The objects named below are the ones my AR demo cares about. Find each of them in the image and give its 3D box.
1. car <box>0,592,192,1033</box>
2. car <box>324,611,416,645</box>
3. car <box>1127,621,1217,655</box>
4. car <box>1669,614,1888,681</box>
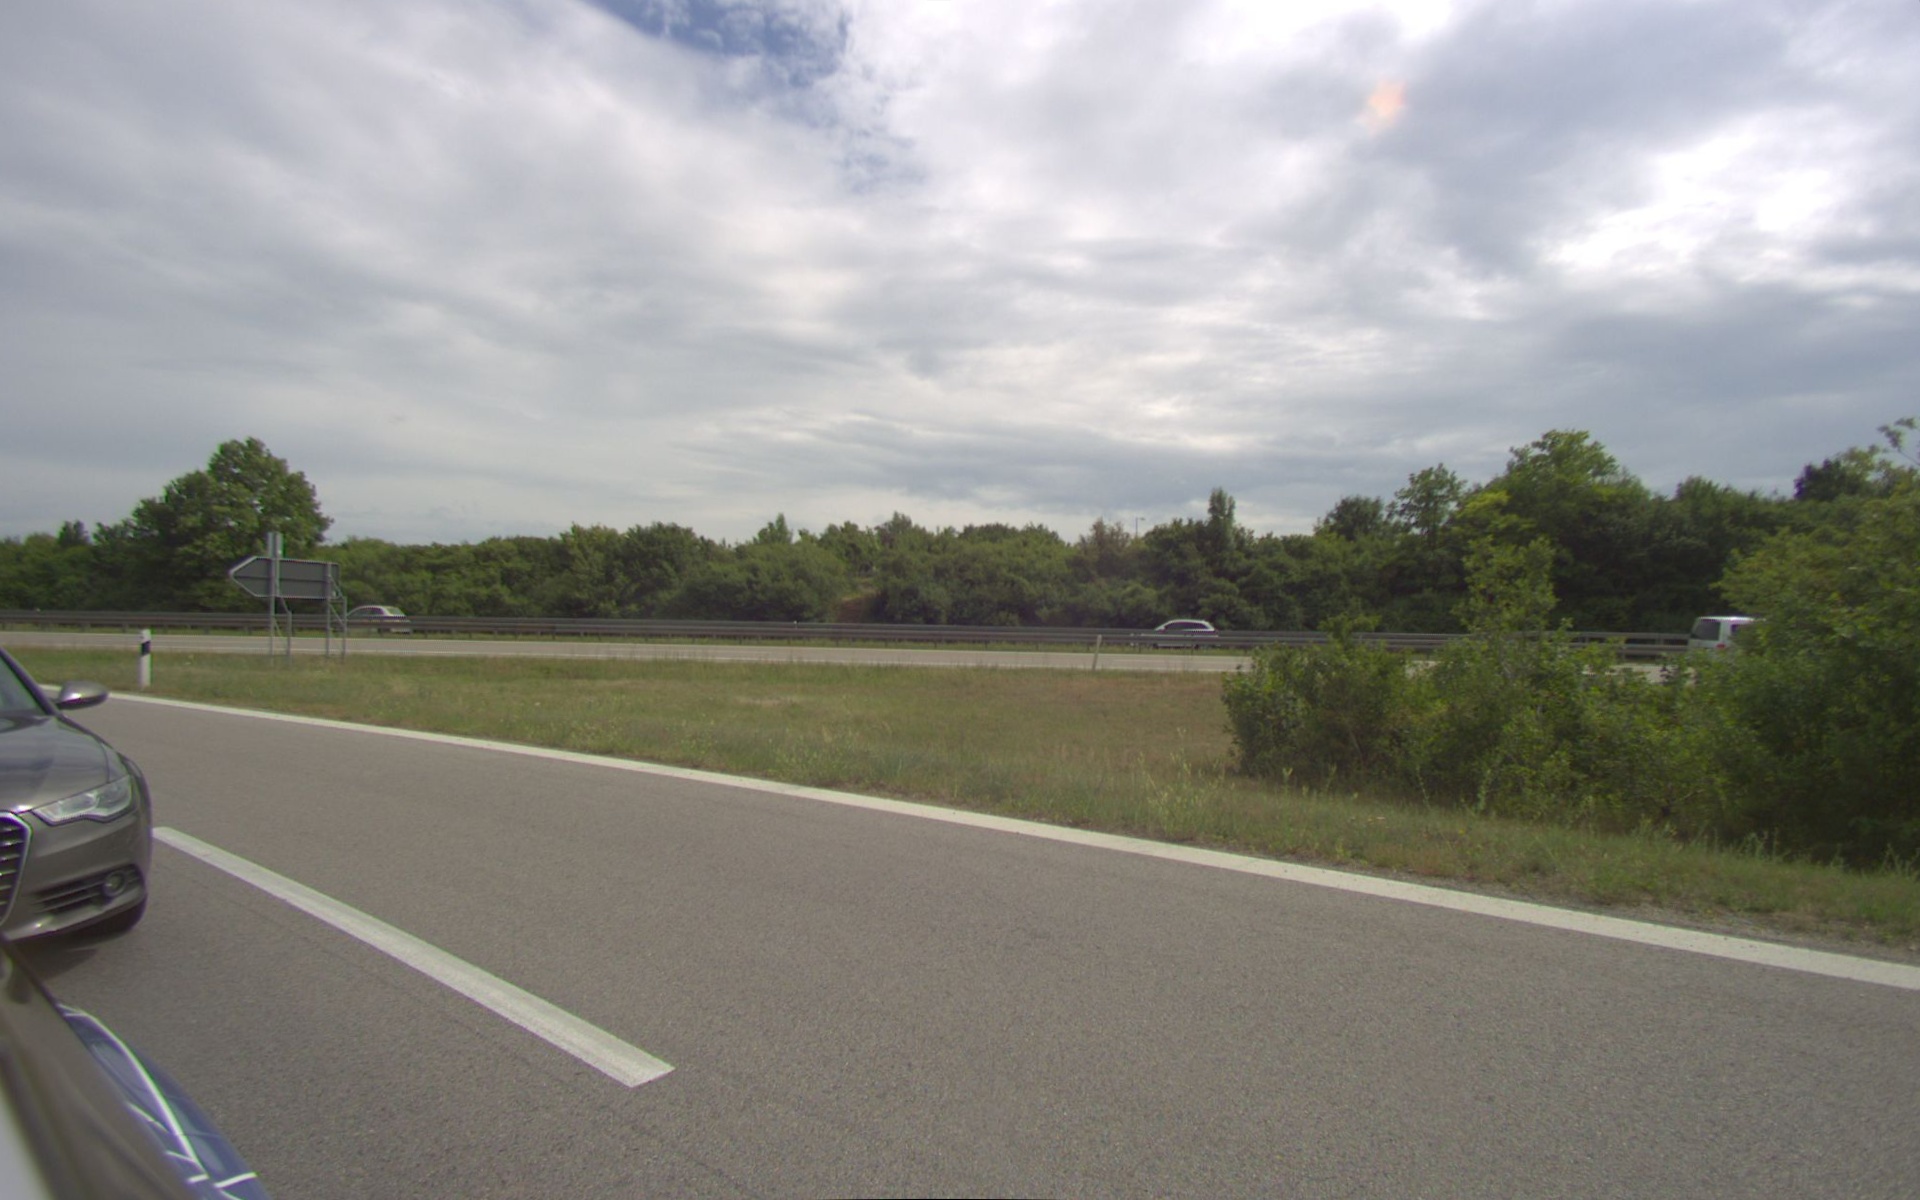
[{"bbox_3d":[-5.341,0.765,4.623,4.534,1.526,1.973,-1,-1,40],"label":"car"},{"bbox_3d":[-27.819,1.290,47.754,3.478,1.520,1.538,1,-1,5],"label":"car"},{"bbox_3d":[9.981,1.776,47.970,3.950,1.497,1.810,1,0,5],"label":"car"},{"bbox_3d":[23.788,1.345,29.599,4.459,1.806,2.206,1,-1,8],"label":"car"}]
